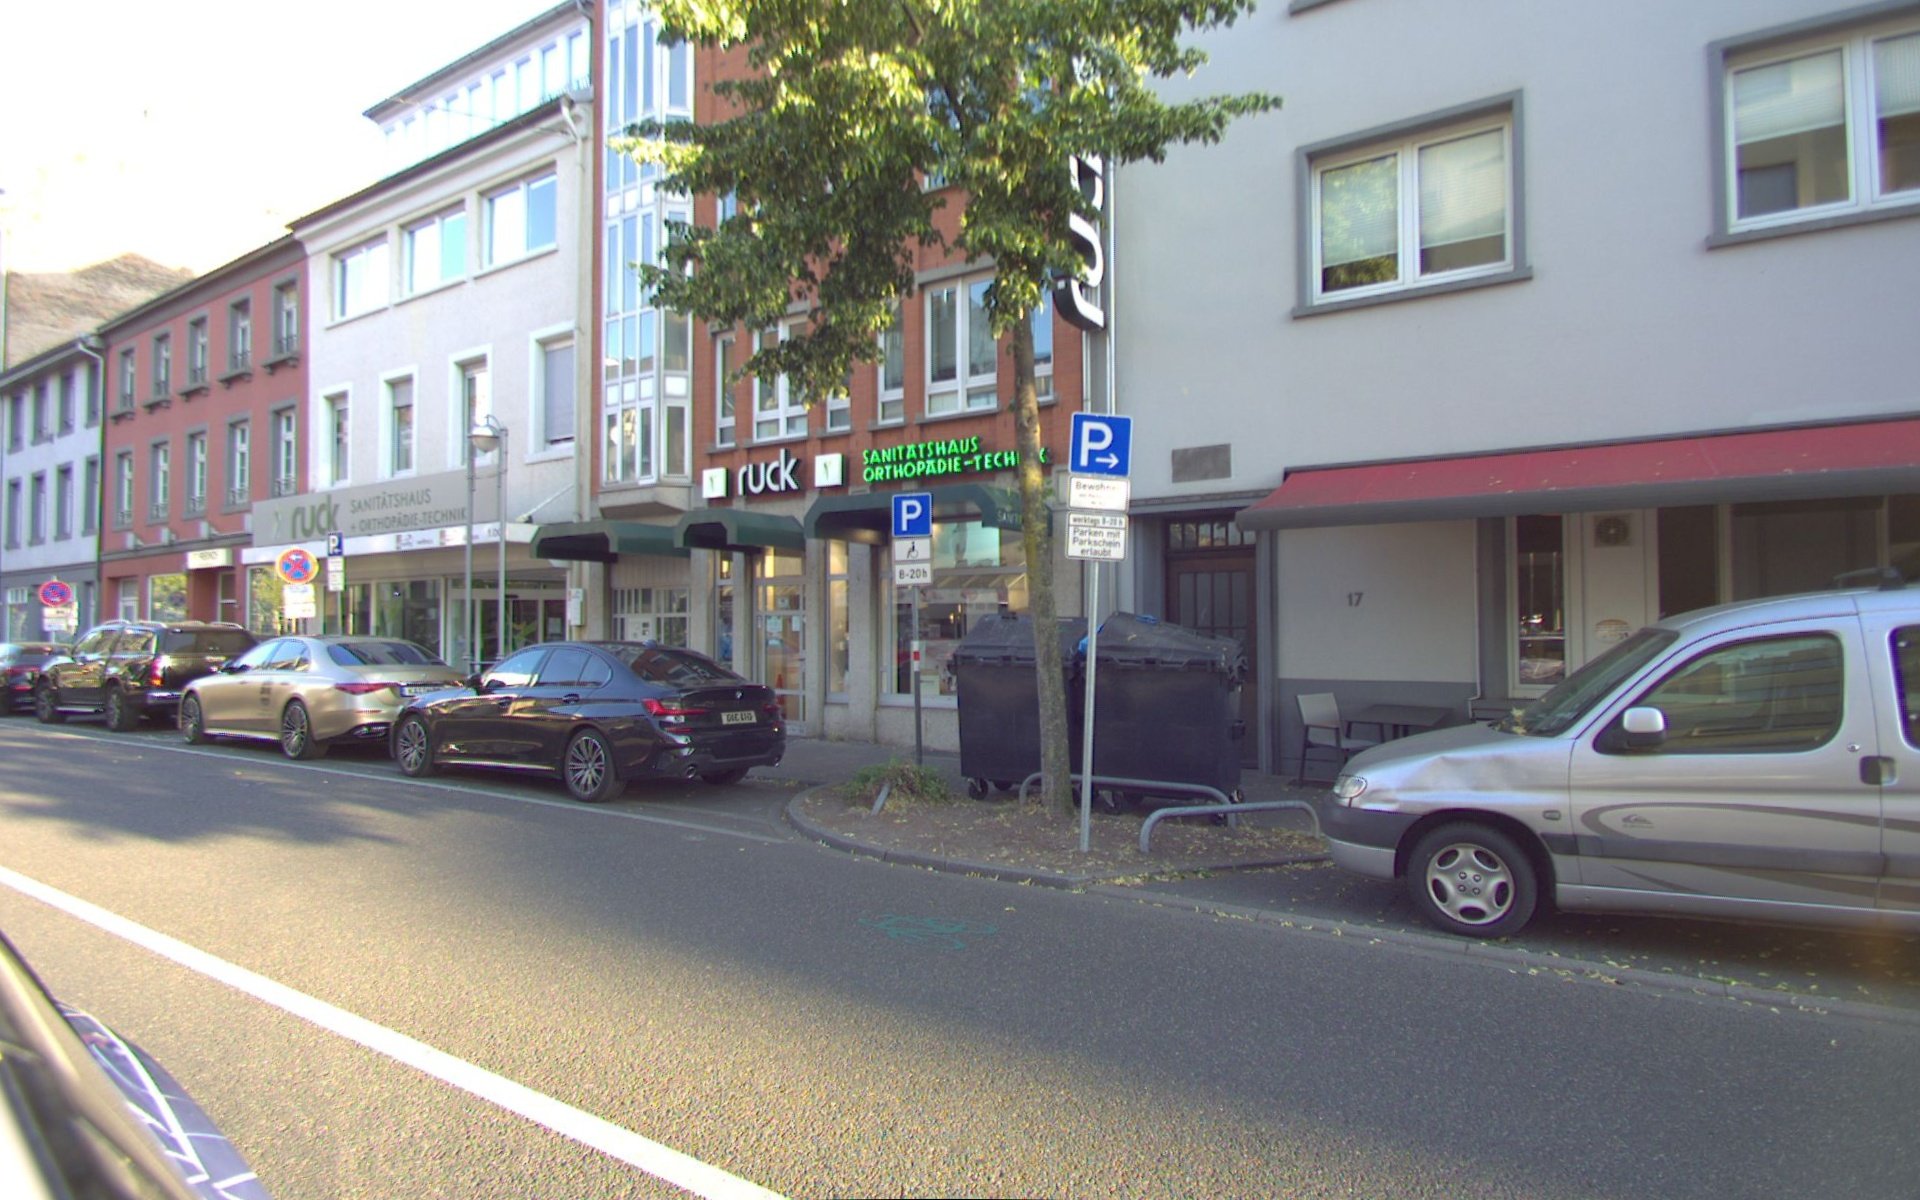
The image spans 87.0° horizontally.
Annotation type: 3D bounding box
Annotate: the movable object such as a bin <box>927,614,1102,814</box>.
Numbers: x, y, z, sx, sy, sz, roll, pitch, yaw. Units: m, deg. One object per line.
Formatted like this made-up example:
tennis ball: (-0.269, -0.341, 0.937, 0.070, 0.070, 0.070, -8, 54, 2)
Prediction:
movable object such as a bin: (0.487, 0.955, 8.993, 1.331, 1.632, 0.775, -1, -1, 30)

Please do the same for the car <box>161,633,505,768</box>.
car: (-8.441, 1.238, 13.461, 5.094, 1.484, 1.977, -2, -4, 34)

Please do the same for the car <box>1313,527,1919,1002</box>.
car: (3.992, 0.708, 4.965, 4.038, 1.902, 1.657, -1, -4, 31)

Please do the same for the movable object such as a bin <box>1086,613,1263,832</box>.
movable object such as a bin: (1.752, 0.940, 8.254, 1.203, 1.632, 0.775, -1, 0, 30)

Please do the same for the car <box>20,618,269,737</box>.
car: (-14.038, 1.281, 17.340, 4.921, 1.793, 1.708, -2, -4, 31)

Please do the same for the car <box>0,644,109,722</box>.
car: (-19.255, 1.649, 20.666, 4.001, 1.448, 1.688, -2, -5, 32)

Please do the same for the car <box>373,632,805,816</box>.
car: (-3.835, 1.112, 10.185, 4.528, 1.484, 1.706, -2, -5, 33)
